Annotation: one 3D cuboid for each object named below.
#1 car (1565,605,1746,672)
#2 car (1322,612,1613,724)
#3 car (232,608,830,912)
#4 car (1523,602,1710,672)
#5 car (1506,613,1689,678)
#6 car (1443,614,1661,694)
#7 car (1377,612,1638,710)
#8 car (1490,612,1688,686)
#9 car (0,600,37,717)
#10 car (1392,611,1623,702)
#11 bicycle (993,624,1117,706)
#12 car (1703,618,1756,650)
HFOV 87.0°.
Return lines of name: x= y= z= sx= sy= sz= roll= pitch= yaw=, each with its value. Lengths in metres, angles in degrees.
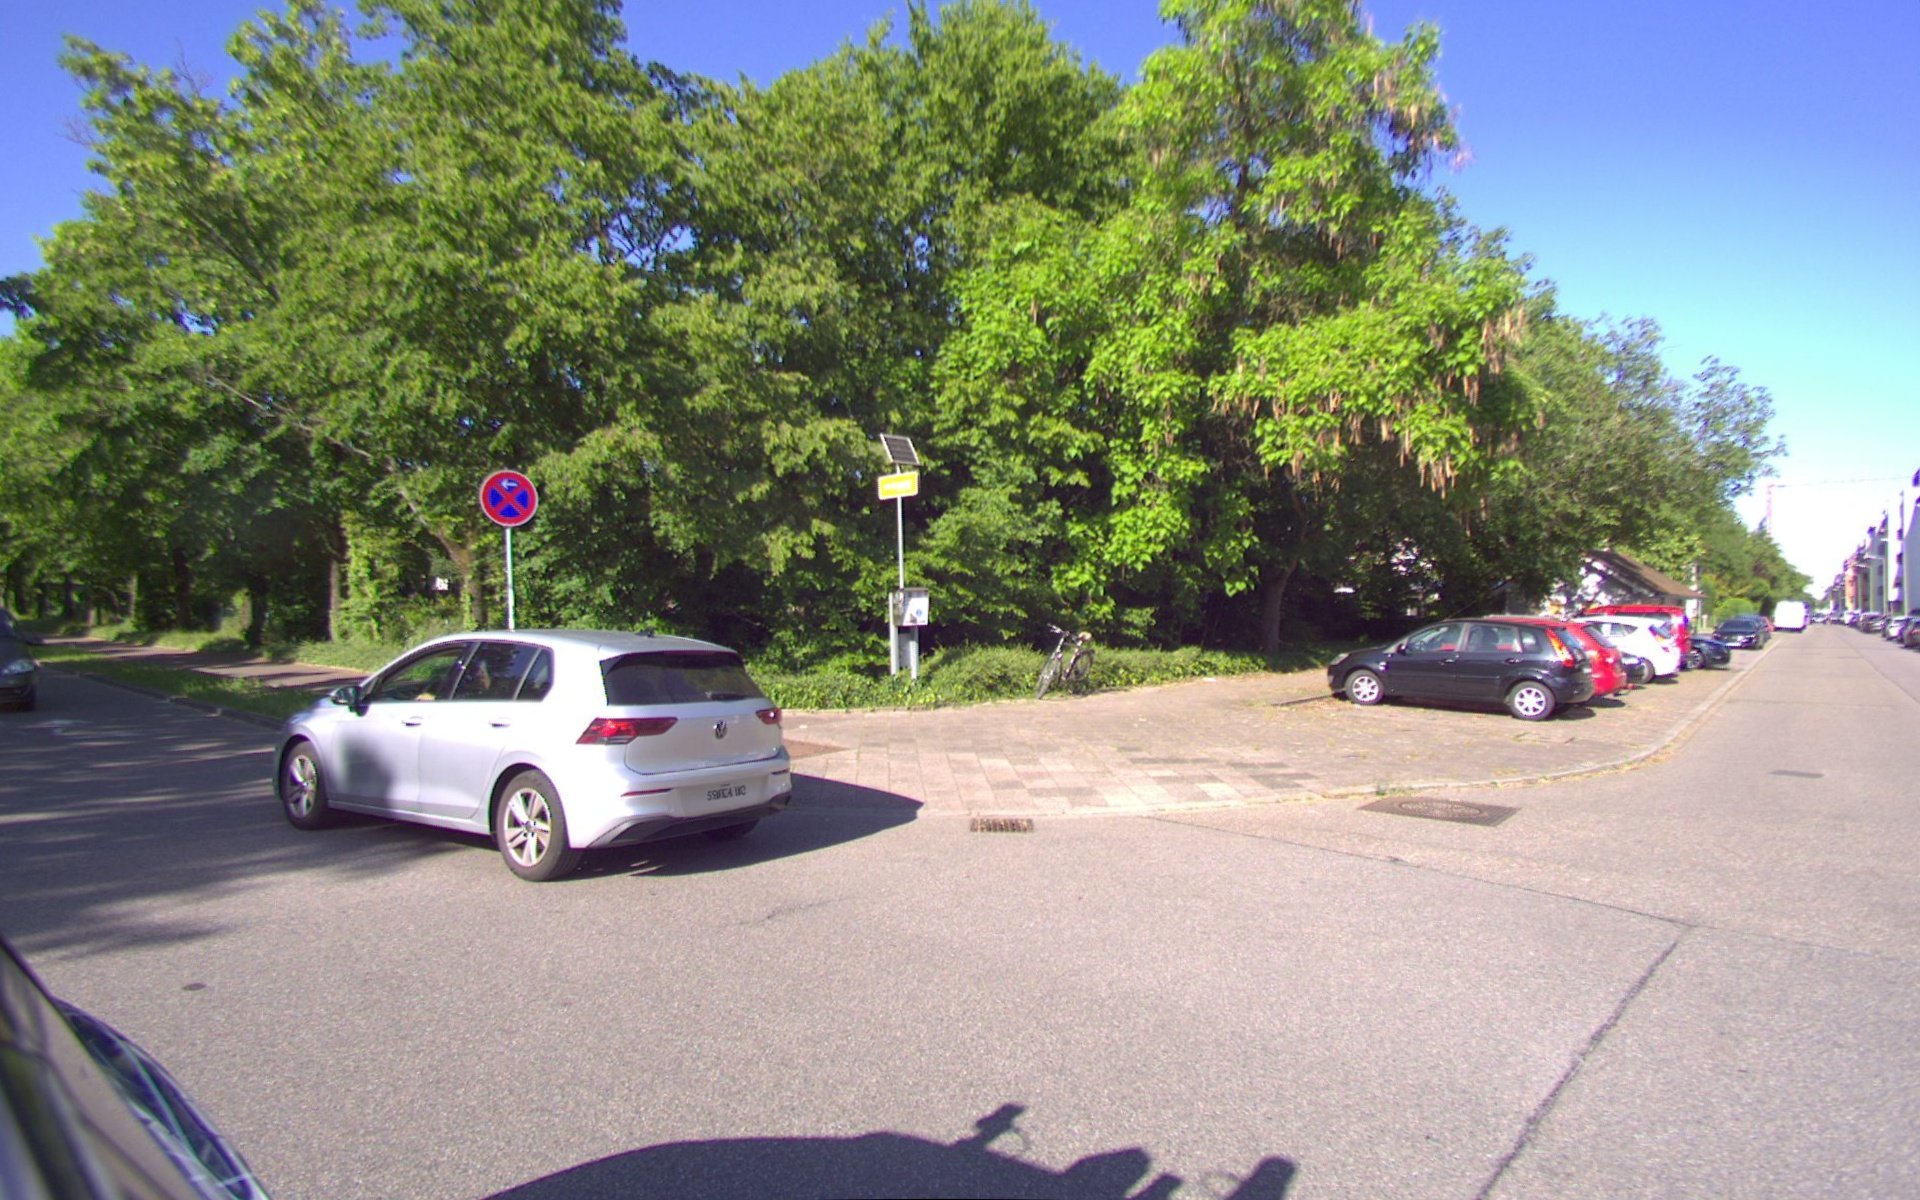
car: x=20.762 y=1.094 z=30.315 sx=4.352 sy=1.784 sz=1.653 roll=1 pitch=0 yaw=40
car: x=8.026 y=0.982 z=16.180 sx=3.882 sy=1.498 sz=1.653 roll=1 pitch=0 yaw=40
car: x=-3.070 y=0.859 z=6.989 sx=4.174 sy=1.478 sz=1.649 roll=1 pitch=-2 yaw=31
car: x=18.871 y=1.005 z=29.184 sx=4.352 sy=1.821 sz=1.653 roll=1 pitch=0 yaw=40
car: x=16.711 y=1.136 z=26.618 sx=3.882 sy=1.498 sz=1.653 roll=1 pitch=0 yaw=40
car: x=12.817 y=1.100 z=22.030 sx=3.882 sy=1.498 sz=1.653 roll=1 pitch=0 yaw=40
car: x=9.768 y=1.001 z=18.190 sx=3.882 sy=1.498 sz=1.653 roll=1 pitch=0 yaw=40
car: x=15.175 y=1.117 z=24.502 sx=3.882 sy=1.569 sz=1.653 roll=1 pitch=0 yaw=40
car: x=-15.322 y=0.861 z=15.319 sx=1.829 sy=1.657 sz=3.758 roll=1 pitch=-2 yaw=-45
car: x=11.064 y=1.068 z=20.579 sx=3.882 sy=1.615 sz=1.653 roll=1 pitch=0 yaw=40
bicycle: x=1.452 y=0.947 z=15.250 sx=1.875 sy=1.161 sz=0.762 roll=1 pitch=-2 yaw=-40
car: x=36.624 y=1.597 z=48.119 sx=1.769 sy=1.430 sz=3.847 roll=-1 pitch=-2 yaw=41
